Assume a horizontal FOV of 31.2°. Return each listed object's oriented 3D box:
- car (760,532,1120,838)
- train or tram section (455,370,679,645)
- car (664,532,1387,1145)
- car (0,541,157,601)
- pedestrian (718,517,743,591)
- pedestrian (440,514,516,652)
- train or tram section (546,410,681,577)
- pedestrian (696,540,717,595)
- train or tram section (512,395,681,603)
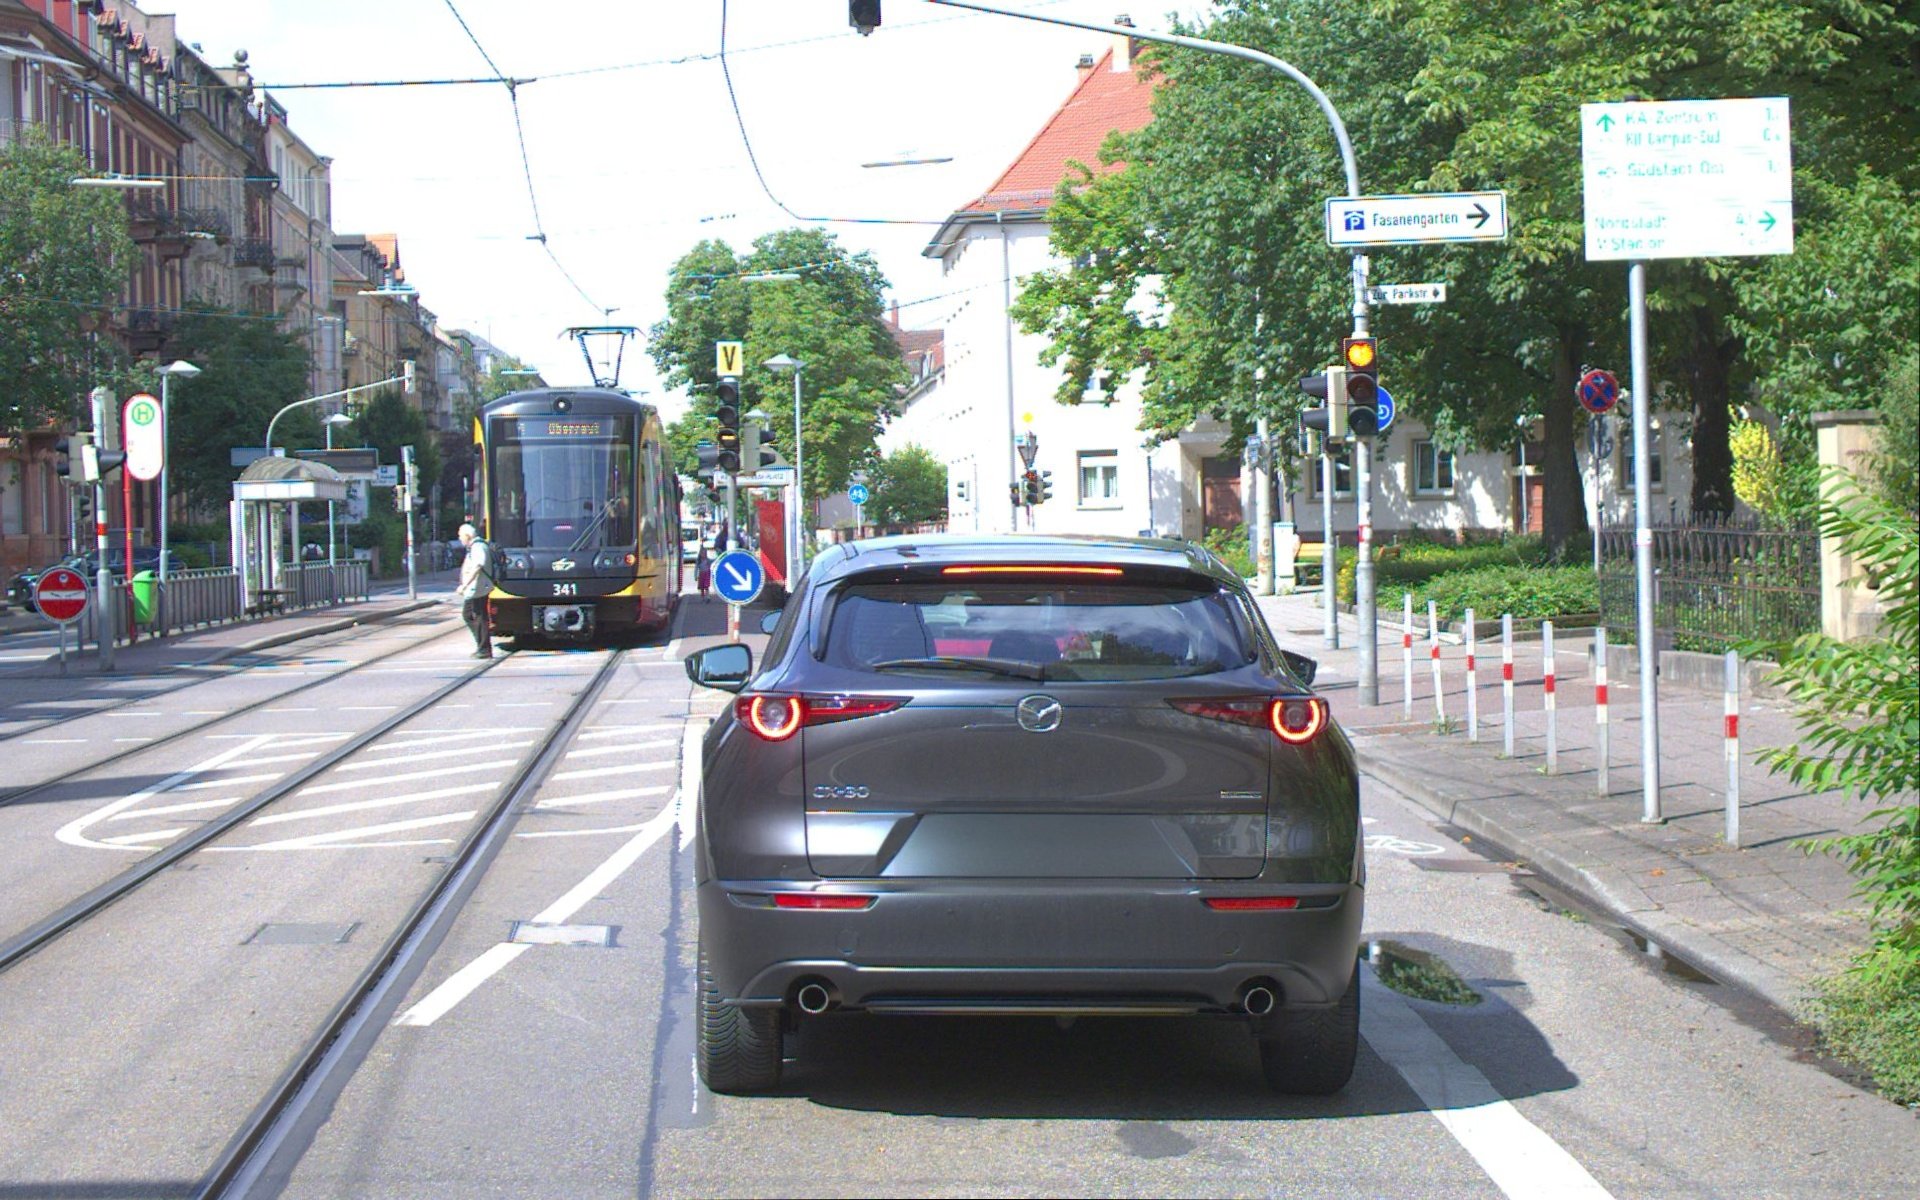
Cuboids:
[{"bbox_3d":[-0.132,0.385,19.172,1.778,1.494,4.000,1,1,-1],"label":"car"},{"bbox_3d":[-5.630,-1.458,51.327,2.752,3.478,14.411,-1,2,-5],"label":"train or tram section"},{"bbox_3d":[0.131,0.556,10.566,1.778,1.494,4.000,1,1,-1],"label":"car"},{"bbox_3d":[-21.901,-0.720,84.204,3.987,1.356,1.678,-2,1,-30],"label":"car"},{"bbox_3d":[-4.524,-0.907,67.649,0.450,1.429,0.474,-1,1,-5],"label":"pedestrian"},{"bbox_3d":[-6.012,-0.220,42.944,0.717,1.699,0.824,-1,1,7],"label":"pedestrian"},{"bbox_3d":[-7.921,-2.532,80.046,2.752,3.478,14.411,-1,2,-5],"label":"train or tram section"},{"bbox_3d":[-4.984,-0.642,67.539,0.379,1.067,0.474,-1,1,-3],"label":"pedestrian"},{"bbox_3d":[-6.769,-1.990,65.680,2.752,3.478,14.411,-1,2,-5],"label":"train or tram section"}]
